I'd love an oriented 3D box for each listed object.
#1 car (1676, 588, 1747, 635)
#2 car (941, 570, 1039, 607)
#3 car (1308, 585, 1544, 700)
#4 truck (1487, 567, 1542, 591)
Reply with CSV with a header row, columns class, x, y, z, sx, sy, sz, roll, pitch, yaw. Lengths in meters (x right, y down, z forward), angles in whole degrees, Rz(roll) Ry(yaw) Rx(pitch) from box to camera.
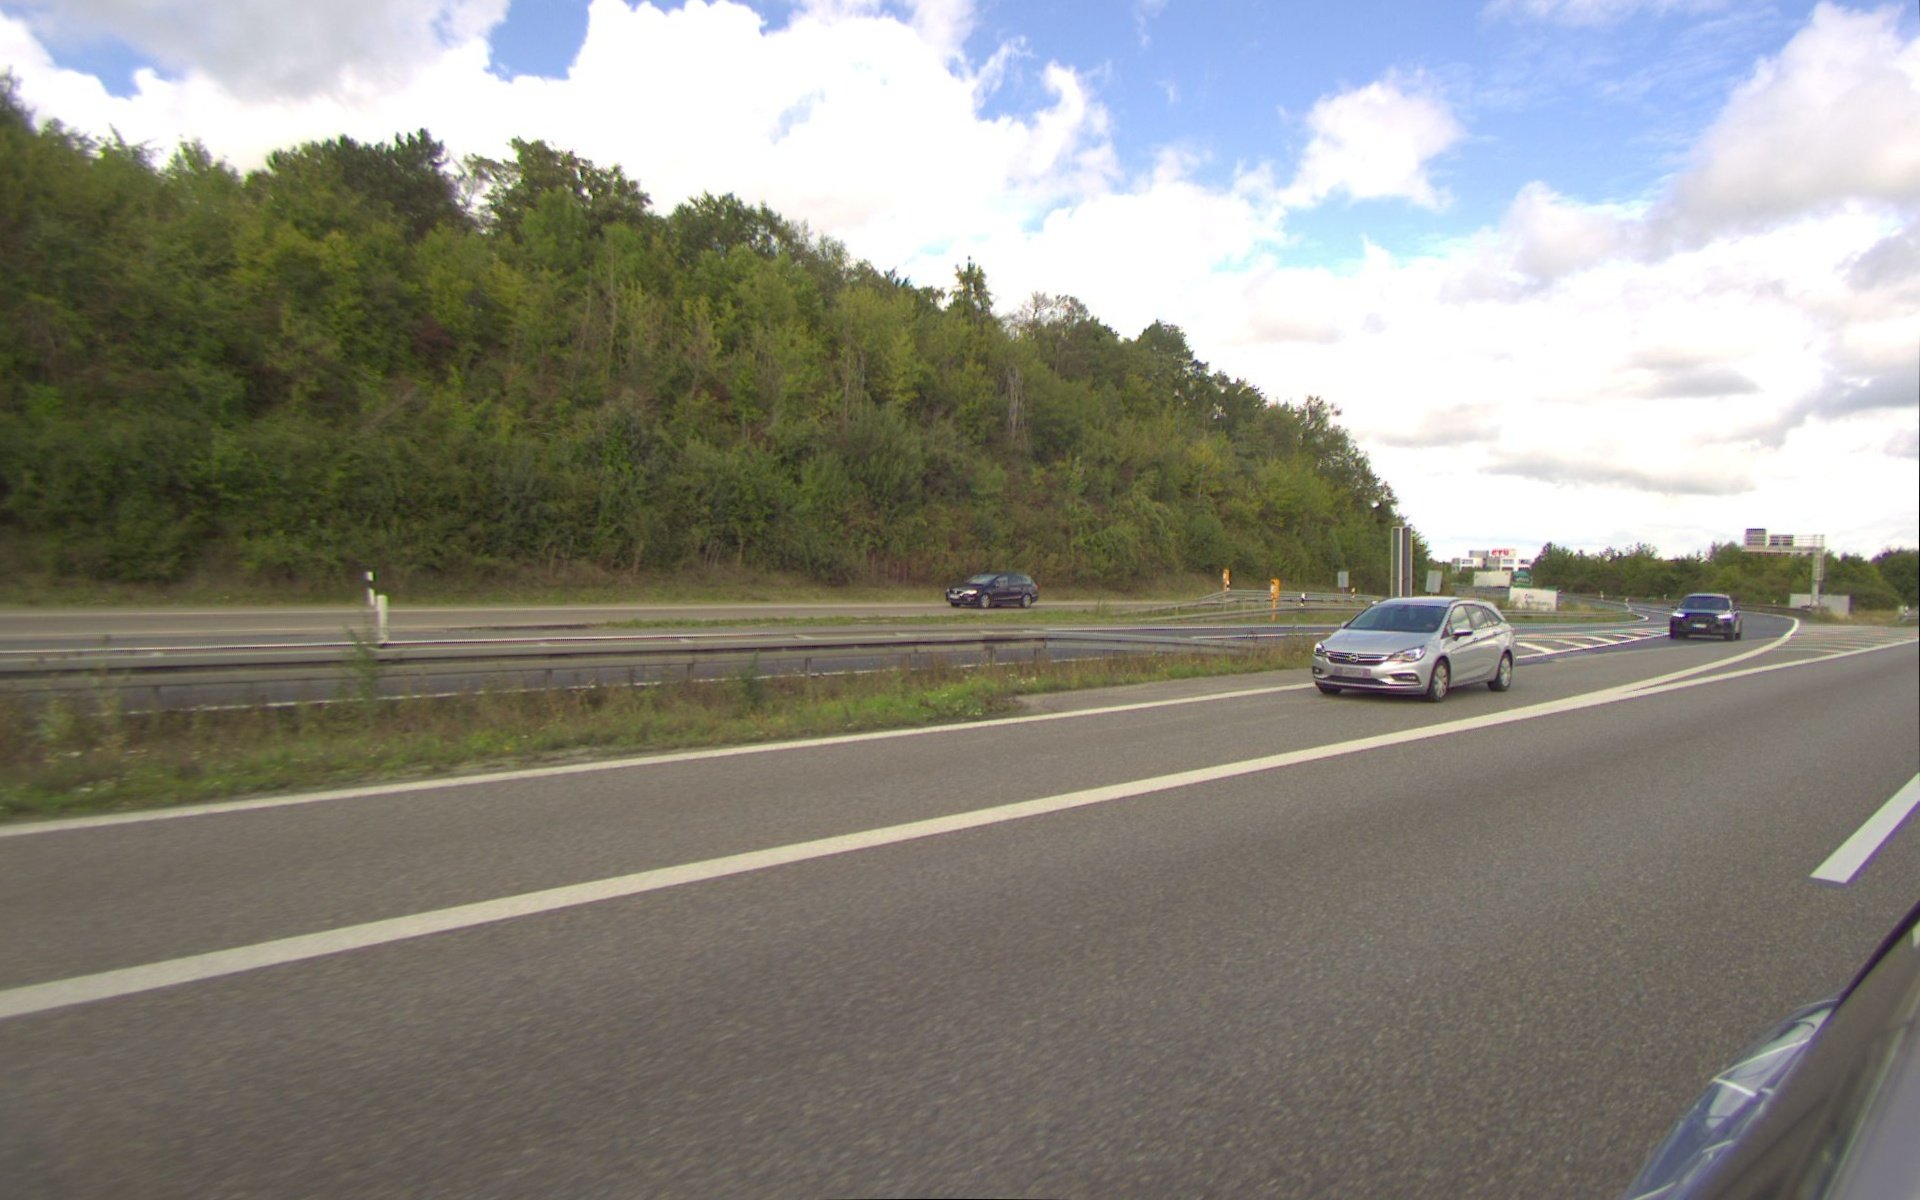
class,x,y,z,sx,sy,sz,roll,pitch,yaw
car,28.623,0.388,38.473,1.869,1.656,4.788,1,1,40
car,1.293,-0.460,41.594,1.712,1.433,4.102,2,1,44
car,7.252,0.552,15.522,4.537,1.504,1.685,0,1,-43
truck,95.108,-3.529,173.913,2.917,3.845,13.444,1,1,5
